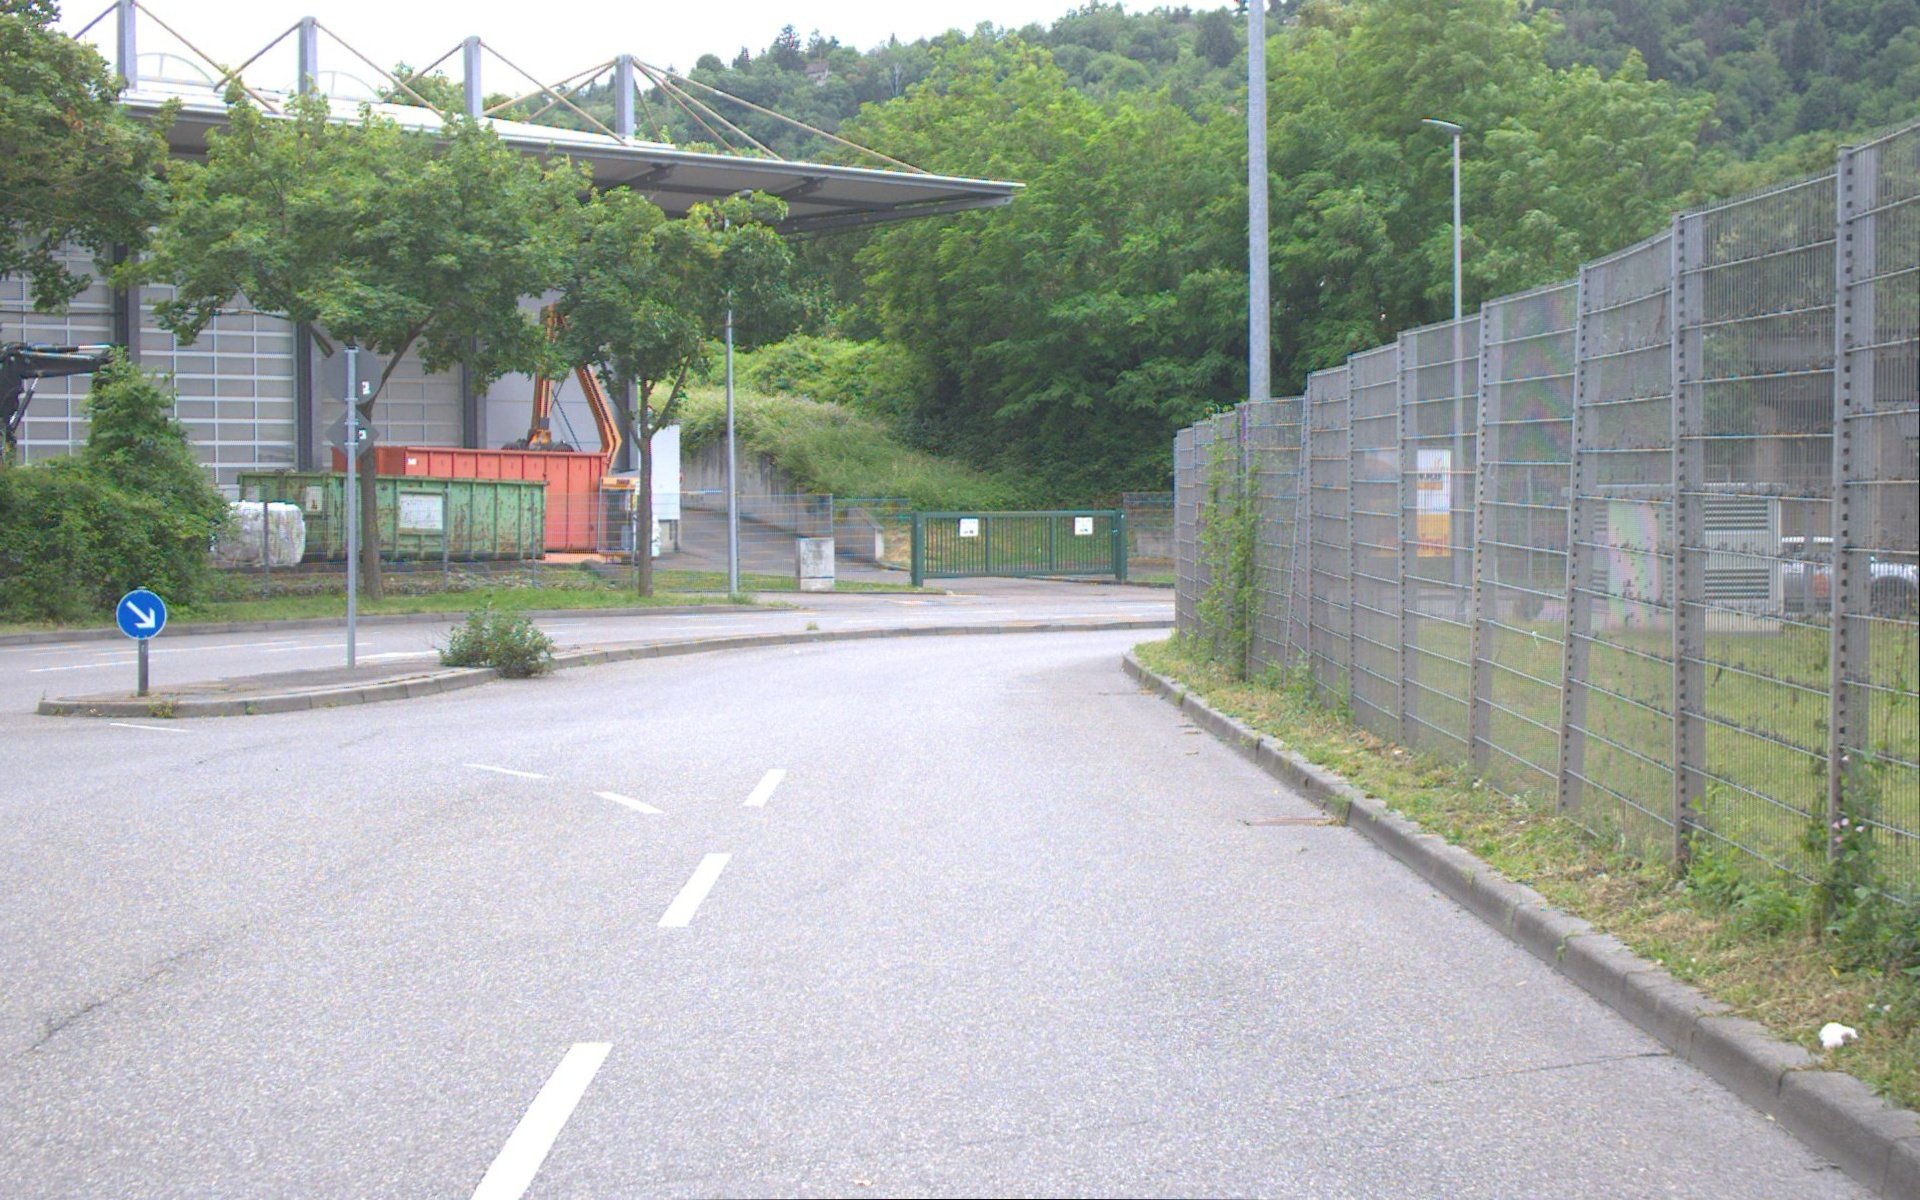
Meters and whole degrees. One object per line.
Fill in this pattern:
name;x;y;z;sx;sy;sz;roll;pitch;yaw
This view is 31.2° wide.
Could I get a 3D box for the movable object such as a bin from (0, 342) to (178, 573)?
movable object such as a bin;-17.572;-2.539;62.190;2.730;4.077;6.540;0;2;34
